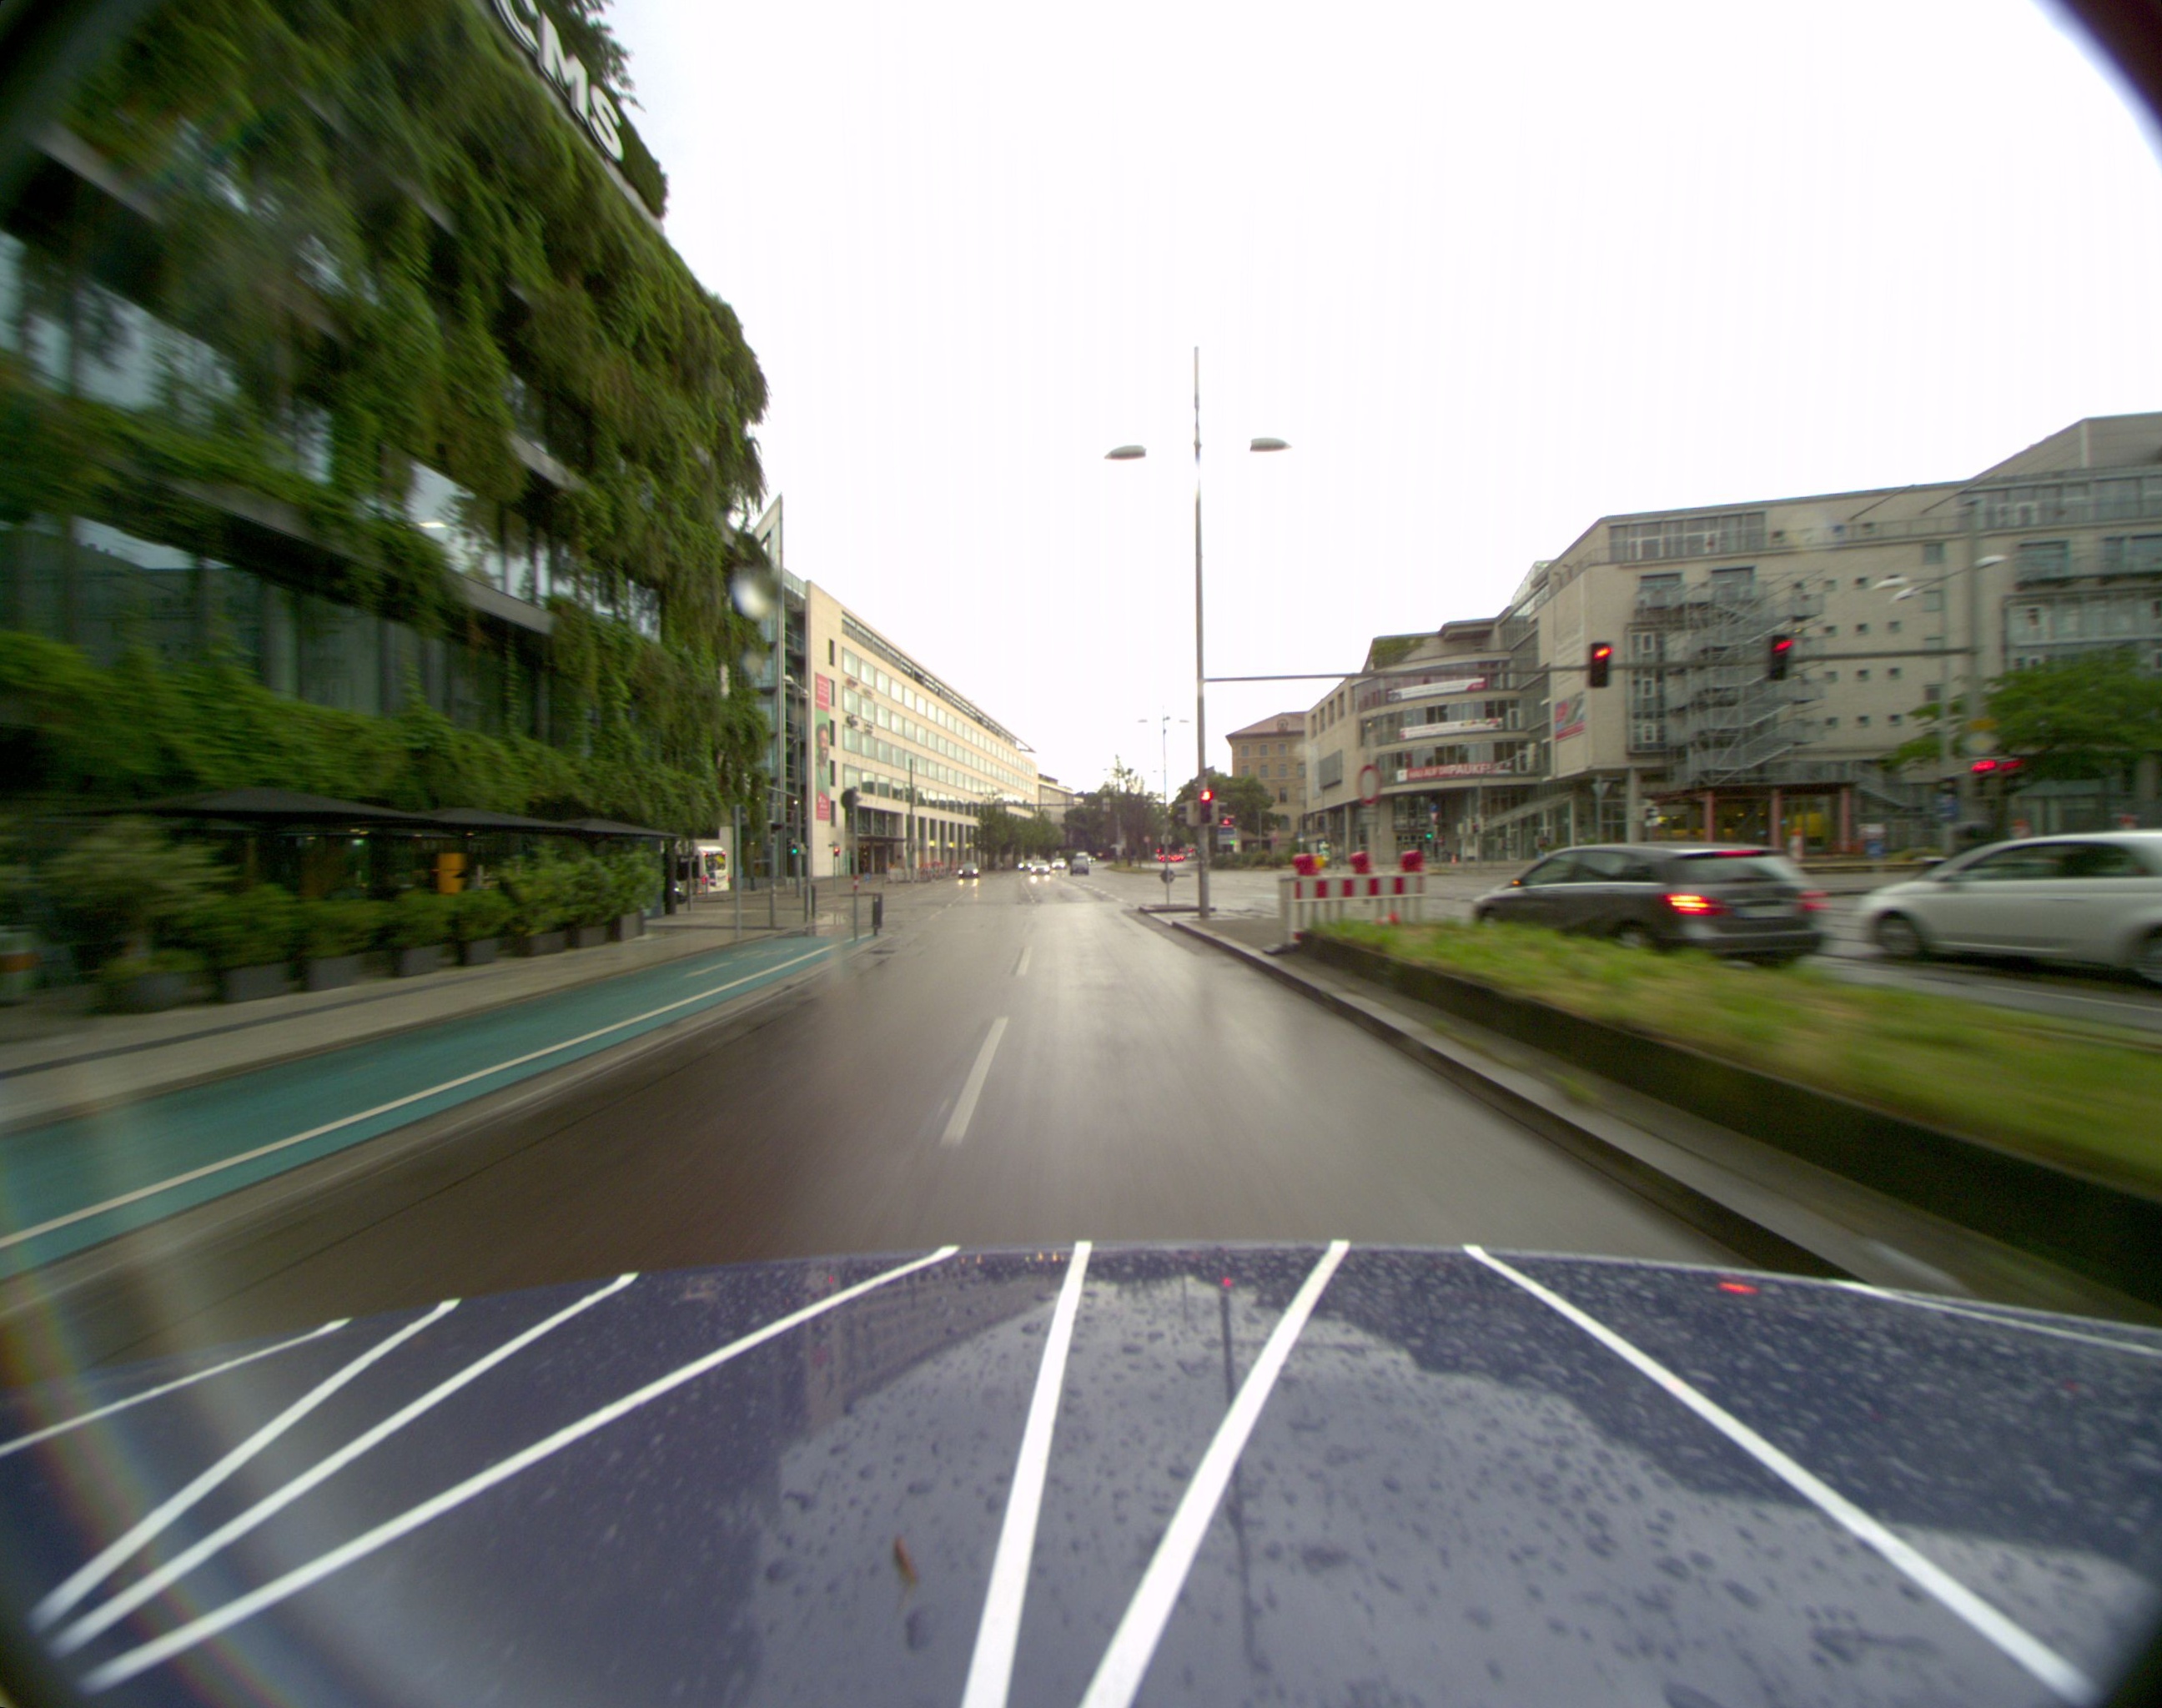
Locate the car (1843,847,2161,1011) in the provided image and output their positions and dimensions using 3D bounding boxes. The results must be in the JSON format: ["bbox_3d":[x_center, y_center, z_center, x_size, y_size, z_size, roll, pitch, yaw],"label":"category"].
[{"bbox_3d":[10.631,0.681,7.986,1.722,1.467,3.430,-2,0,-2],"label":"car"}]

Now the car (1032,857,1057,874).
[{"bbox_3d":[-3.634,1.144,76.449,1.978,1.543,4.672,-2,0,4],"label":"car"}]

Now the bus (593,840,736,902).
[{"bbox_3d":[-26.945,1.083,49.245,8.076,3.567,2.689,-3,0,10],"label":"bus"}]

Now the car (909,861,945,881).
[{"bbox_3d":[-13.099,1.439,64.821,1.738,1.543,4.672,-2,0,4],"label":"car"}]

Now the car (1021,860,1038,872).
[{"bbox_3d":[-6.902,1.573,102.216,1.738,1.543,4.672,-2,0,4],"label":"car"}]

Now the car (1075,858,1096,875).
[{"bbox_3d":[0.357,1.098,68.612,1.724,1.424,3.999,-2,0,-1],"label":"car"}]

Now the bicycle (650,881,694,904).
[{"bbox_3d":[-22.034,2.086,40.937,2.087,1.129,0.810,-3,0,15],"label":"bicycle"}]

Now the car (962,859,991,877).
[{"bbox_3d":[-9.832,1.323,71.949,1.738,1.543,4.672,-3,0,4],"label":"car"}]

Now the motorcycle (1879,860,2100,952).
[{"bbox_3d":[13.300,0.707,11.244,0.720,1.221,2.042,-2,0,-5],"label":"motorcycle"}]

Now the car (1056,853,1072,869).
[{"bbox_3d":[-2.361,0.994,106.175,1.978,2.116,5.106,-2,0,1],"label":"car"}]

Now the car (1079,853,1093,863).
[{"bbox_3d":[1.030,0.797,152.580,1.997,2.002,4.003,-2,0,9],"label":"car"}]

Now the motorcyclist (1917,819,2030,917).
[{"bbox_3d":[13.272,0.205,11.315,0.789,1.383,0.733,-3,0,-5],"label":"motorcyclist"}]

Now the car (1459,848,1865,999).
[{"bbox_3d":[6.959,0.720,9.804,1.848,1.473,4.163,-2,0,-4],"label":"car"}]

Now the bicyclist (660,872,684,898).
[{"bbox_3d":[-22.020,1.671,40.914,0.742,1.328,0.797,-3,0,17],"label":"bicyclist"}]
